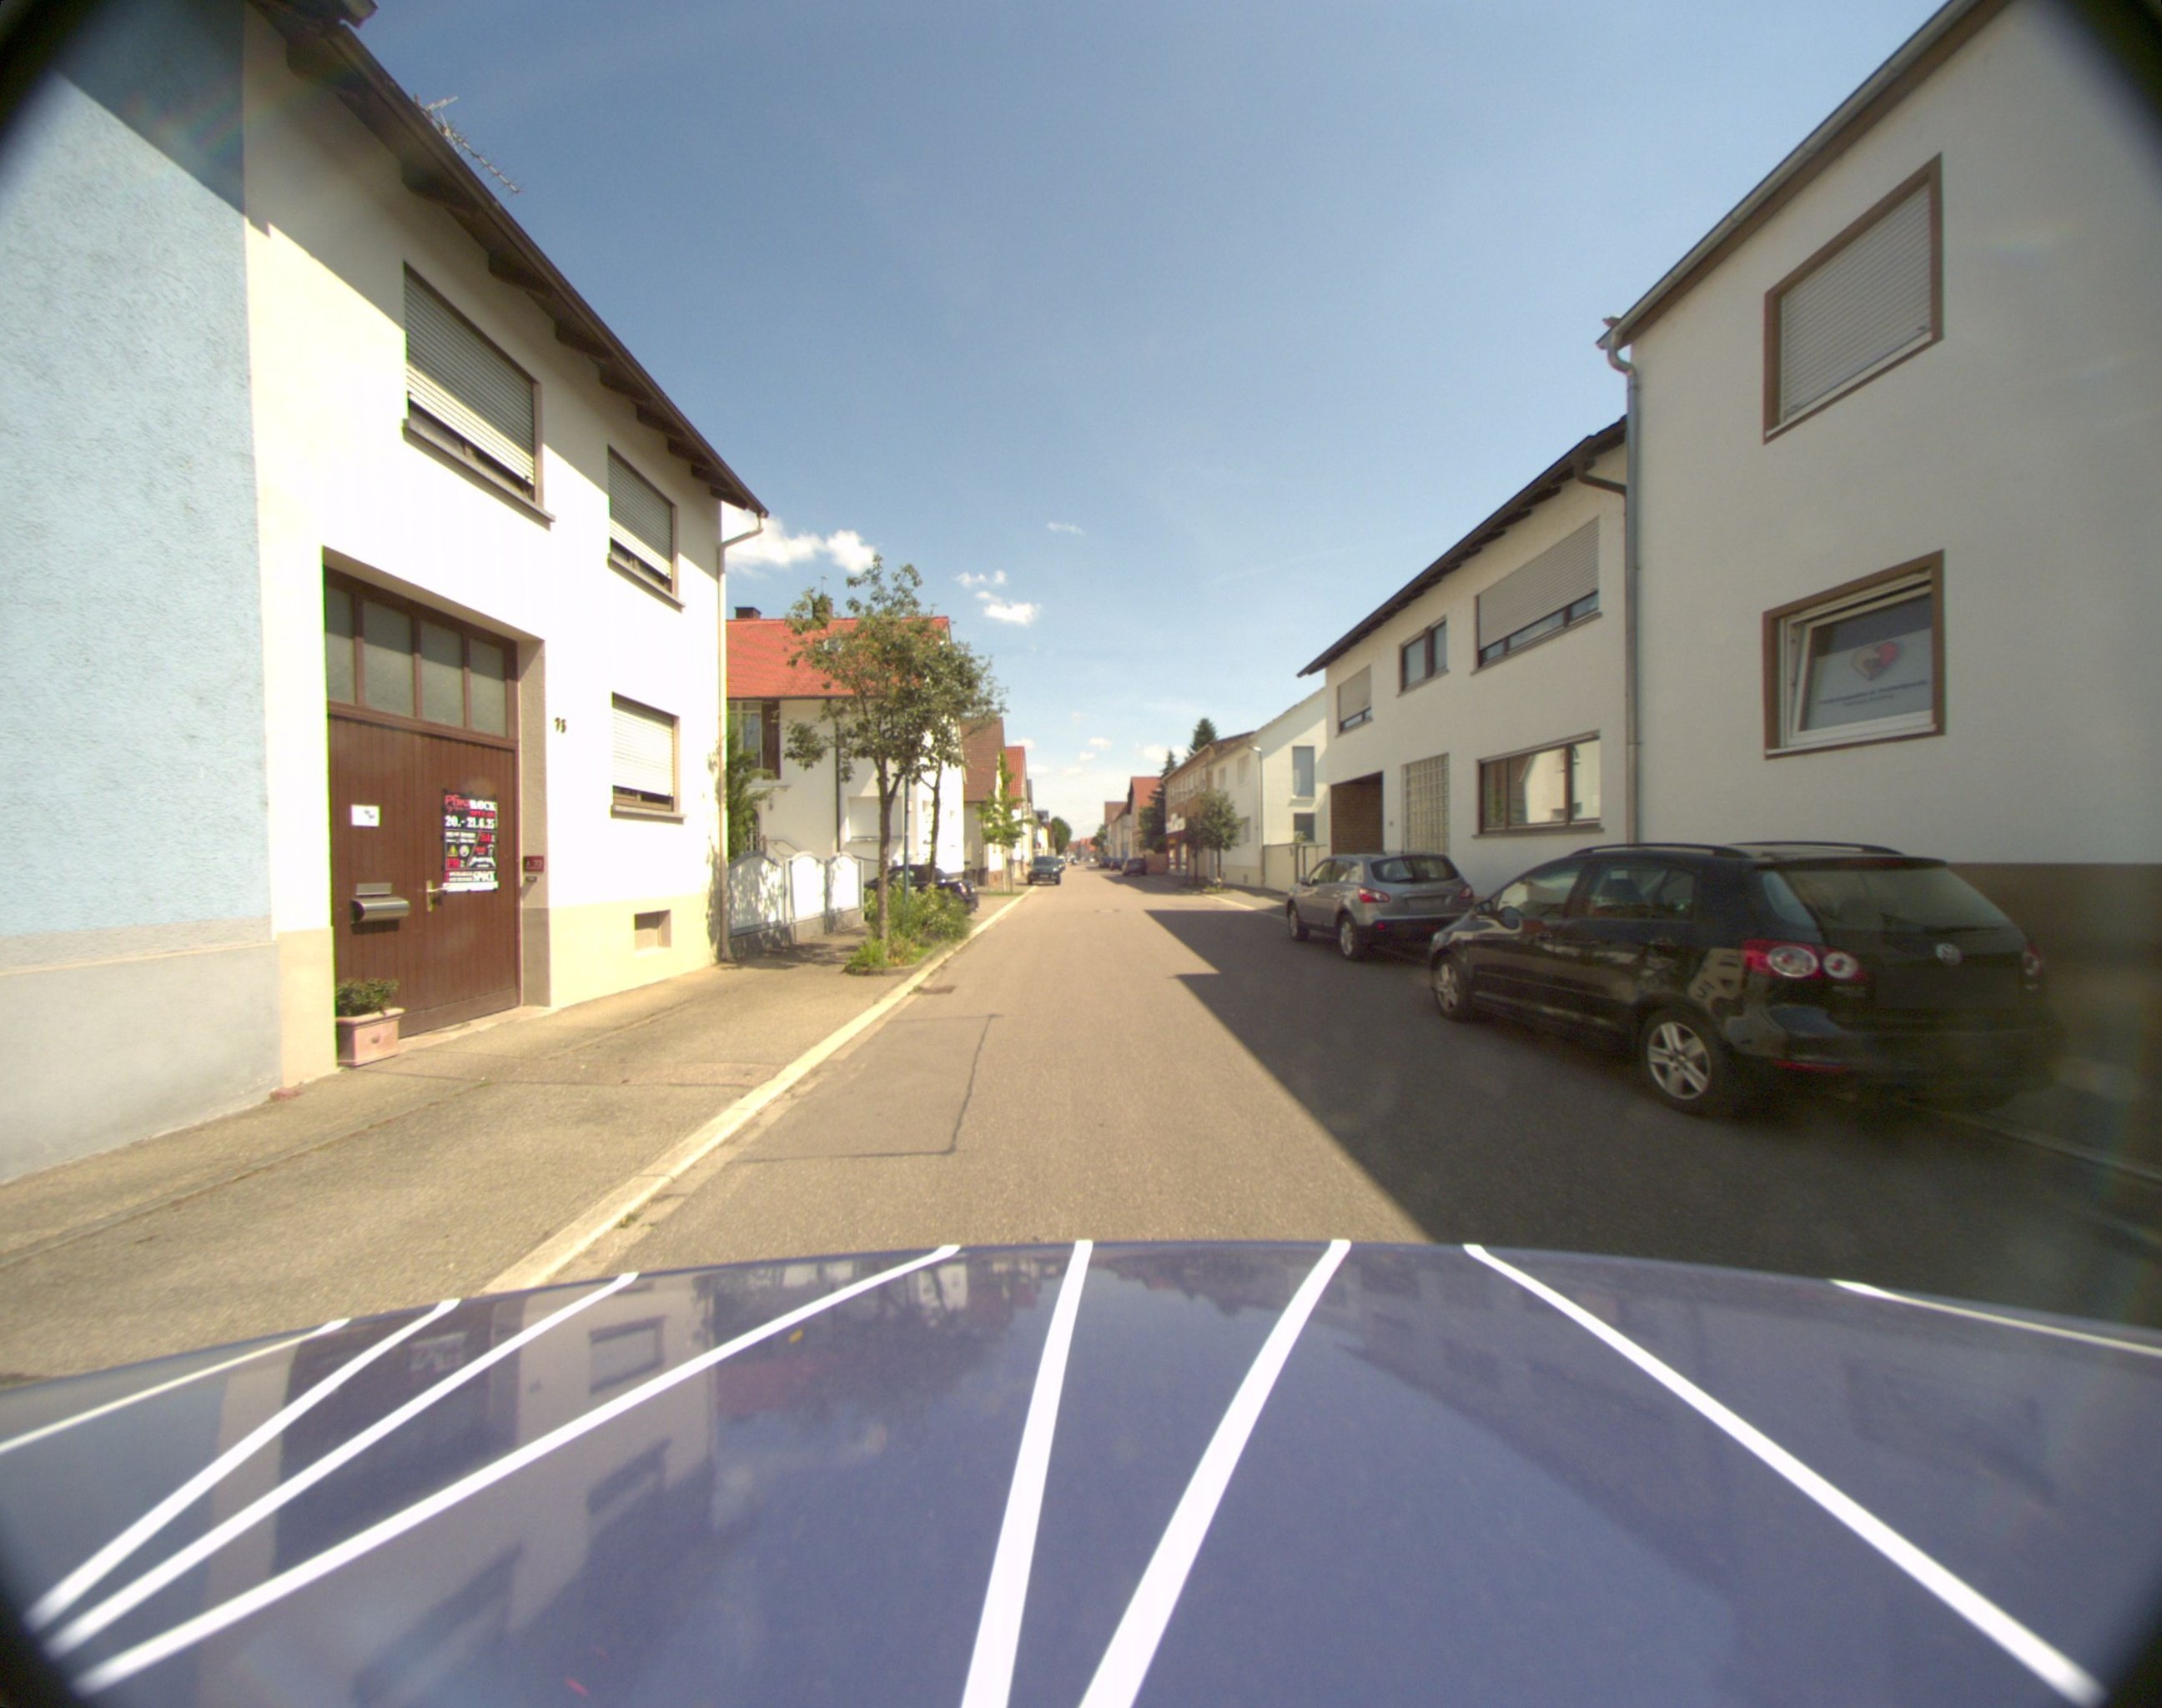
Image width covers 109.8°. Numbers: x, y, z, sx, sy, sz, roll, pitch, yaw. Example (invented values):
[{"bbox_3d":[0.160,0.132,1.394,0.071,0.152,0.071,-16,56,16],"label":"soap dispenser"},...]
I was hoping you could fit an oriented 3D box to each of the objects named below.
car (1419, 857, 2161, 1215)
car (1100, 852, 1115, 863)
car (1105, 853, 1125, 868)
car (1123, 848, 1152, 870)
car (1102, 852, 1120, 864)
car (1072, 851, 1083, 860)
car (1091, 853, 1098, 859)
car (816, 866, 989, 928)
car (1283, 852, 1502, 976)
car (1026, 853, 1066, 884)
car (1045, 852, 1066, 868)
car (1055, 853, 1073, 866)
[{"bbox_3d":[4.224,0.824,5.404,1.752,1.557,3.954,-1,0,-2],"label":"car"},{"bbox_3d":[3.694,0.489,106.536,1.999,1.570,3.999,-1,0,0],"label":"car"},{"bbox_3d":[3.704,0.684,82.752,1.855,1.543,3.999,-1,0,-2],"label":"car"},{"bbox_3d":[4.537,0.356,61.404,1.852,1.688,3.999,-1,0,-2],"label":"car"},{"bbox_3d":[3.979,0.477,100.851,1.999,1.570,3.999,-1,0,-2],"label":"car"},{"bbox_3d":[-0.710,0.273,143.323,1.958,1.521,4.000,-1,0,0],"label":"car"},{"bbox_3d":[3.693,0.525,206.247,1.904,1.683,4.000,-2,0,1],"label":"car"},{"bbox_3d":[-4.363,1.039,18.944,3.814,1.420,1.728,-1,0,3],"label":"car"},{"bbox_3d":[4.657,0.789,12.081,1.758,1.608,4.120,-1,0,-1],"label":"car"},{"bbox_3d":[-1.944,0.796,43.727,1.998,1.696,4.000,-1,0,1],"label":"car"},{"bbox_3d":[-2.529,0.613,76.100,1.958,1.521,4.000,-1,0,0],"label":"car"},{"bbox_3d":[-2.065,0.693,93.251,1.958,1.521,4.000,-1,0,0],"label":"car"}]
